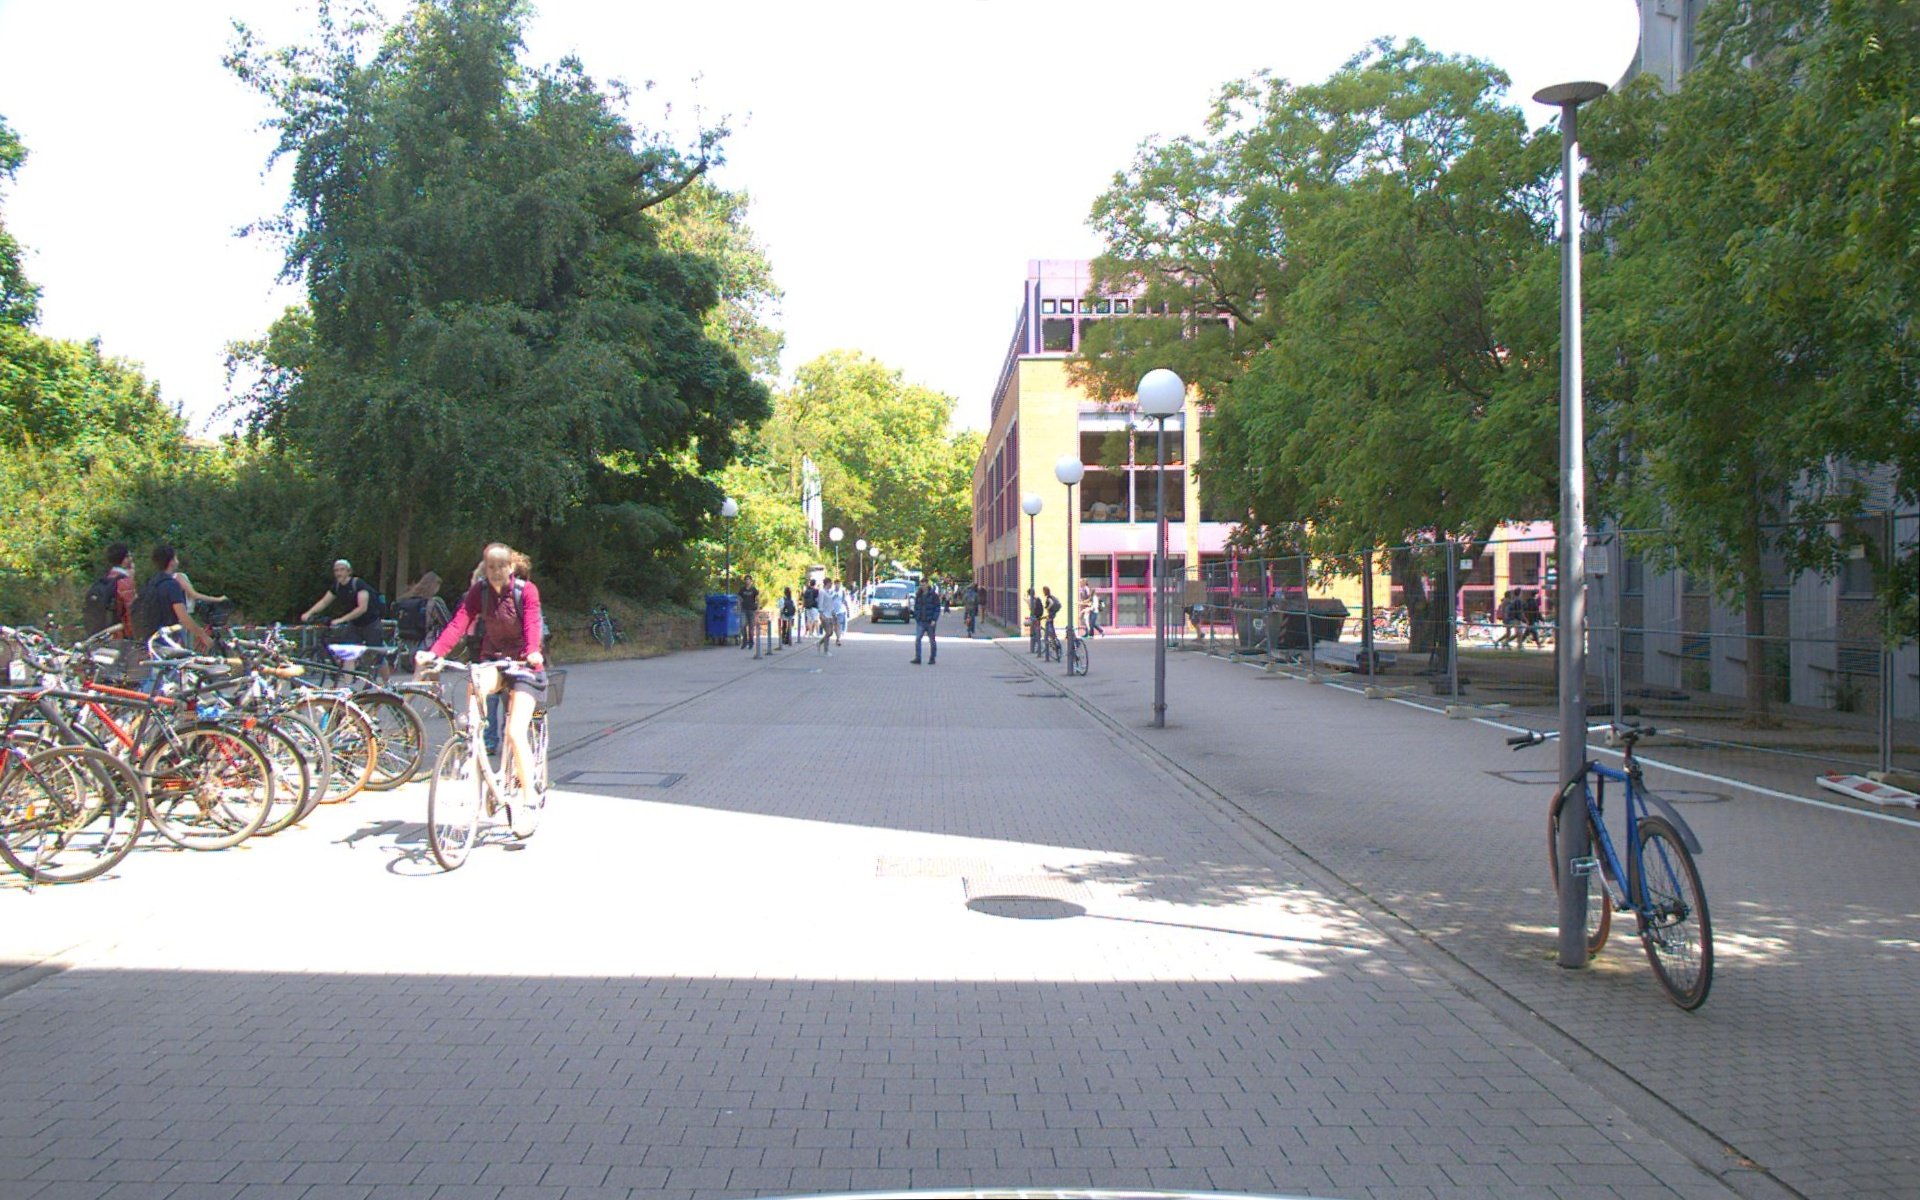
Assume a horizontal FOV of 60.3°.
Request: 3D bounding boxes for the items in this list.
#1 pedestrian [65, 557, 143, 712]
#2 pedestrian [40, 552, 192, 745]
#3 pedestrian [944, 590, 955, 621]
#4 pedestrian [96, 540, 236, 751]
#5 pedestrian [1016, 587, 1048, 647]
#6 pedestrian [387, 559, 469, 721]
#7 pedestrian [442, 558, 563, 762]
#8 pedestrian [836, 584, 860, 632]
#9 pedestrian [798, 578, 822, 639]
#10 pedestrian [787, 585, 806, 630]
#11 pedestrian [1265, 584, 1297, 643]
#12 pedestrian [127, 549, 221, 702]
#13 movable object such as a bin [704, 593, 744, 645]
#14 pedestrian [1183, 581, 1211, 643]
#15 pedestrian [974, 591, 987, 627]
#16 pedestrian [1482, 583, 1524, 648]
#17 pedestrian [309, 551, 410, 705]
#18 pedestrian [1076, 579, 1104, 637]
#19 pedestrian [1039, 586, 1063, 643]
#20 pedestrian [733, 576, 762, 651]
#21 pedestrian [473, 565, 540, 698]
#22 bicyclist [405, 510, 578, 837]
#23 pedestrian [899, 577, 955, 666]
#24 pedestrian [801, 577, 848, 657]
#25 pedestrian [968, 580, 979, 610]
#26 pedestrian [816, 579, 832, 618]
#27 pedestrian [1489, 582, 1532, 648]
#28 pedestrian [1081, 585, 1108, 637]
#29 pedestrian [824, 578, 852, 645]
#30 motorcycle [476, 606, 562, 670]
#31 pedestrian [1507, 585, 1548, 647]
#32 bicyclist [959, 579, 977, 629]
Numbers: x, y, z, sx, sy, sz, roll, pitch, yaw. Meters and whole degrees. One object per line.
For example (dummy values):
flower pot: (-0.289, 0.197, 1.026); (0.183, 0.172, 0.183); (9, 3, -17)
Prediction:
pedestrian: (-9.931, 0.378, 19.186); (0.679, 1.754, 0.721); (-1, 1, -38)
pedestrian: (-7.963, 0.427, 15.625); (0.703, 1.754, 1.062); (0, 1, 31)
pedestrian: (-0.596, 0.321, 92.497); (0.574, 1.702, 0.817); (-1, -1, 0)
pedestrian: (-7.289, 0.392, 15.198); (0.672, 1.867, 0.938); (0, 1, 33)
pedestrian: (2.052, 0.492, 47.029); (0.834, 1.680, 0.588); (1, -1, 6)
pedestrian: (-5.913, 0.440, 18.407); (0.670, 1.754, 0.731); (1, 0, -3)
pedestrian: (-4.000, 0.501, 14.427); (0.761, 1.709, 0.896); (1, 0, -34)
pedestrian: (-3.735, 0.286, 55.262); (0.725, 1.569, 0.888); (2, -2, -3)
pedestrian: (-4.690, 0.267, 51.819); (0.668, 1.876, 0.783); (1, -1, -1)
pedestrian: (-6.082, 0.295, 61.607); (0.669, 1.649, 0.977); (1, -1, -6)
pedestrian: (9.588, 0.414, 49.438); (0.882, 1.759, 0.685); (-1, -2, 9)
pedestrian: (-9.246, 0.282, 19.451); (0.925, 1.754, 0.670); (-1, 1, -31)
movable object such as a bin: (-6.456, 0.520, 45.236); (0.694, 1.359, 1.240); (3, 0, 9)
pedestrian: (7.049, 0.366, 49.185); (0.750, 1.826, 0.588); (-1, -1, 6)
pedestrian: (0.980, 0.438, 79.312); (0.574, 1.702, 0.699); (-1, -1, 0)
pedestrian: (14.906, 0.441, 45.397); (0.884, 1.759, 0.684); (0, -2, -6)
pedestrian: (-7.505, 0.339, 20.702); (0.601, 1.867, 1.048); (0, 0, 30)
pedestrian: (4.231, 0.253, 53.720); (0.809, 1.876, 0.684); (1, -1, -4)
pedestrian: (2.772, 0.442, 50.426); (0.682, 1.702, 0.588); (-1, -1, 6)
pedestrian: (-5.504, 0.352, 42.849); (0.669, 1.905, 1.119); (1, -1, -6)
pedestrian: (-6.119, 0.416, 22.356); (0.670, 1.754, 0.903); (1, 0, -3)
bicyclist: (-2.627, 0.399, 9.360); (0.756, 1.746, 0.910); (-1, -1, -4)
pedestrian: (-0.716, 0.464, 36.279); (0.867, 1.890, 1.032); (1, 0, 21)
pedestrian: (-3.250, 0.406, 39.628); (0.773, 1.877, 1.109); (1, 0, -25)
pedestrian: (0.747, -0.268, 93.492); (0.574, 1.702, 0.817); (-1, -1, 0)
pedestrian: (-6.648, -0.052, 80.907); (0.668, 1.876, 0.783); (1, -1, -1)
pedestrian: (14.818, 0.406, 44.552); (0.884, 1.759, 0.684); (0, -2, -6)
pedestrian: (4.313, 0.352, 53.020); (0.765, 1.649, 0.684); (1, -1, -4)
pedestrian: (-3.533, 0.343, 47.837); (0.710, 1.914, 1.080); (1, -1, -8)
motorcycle: (-8.040, 0.668, 30.116); (1.990, 1.065, 0.471); (2, 1, 42)
pedestrian: (16.178, 0.462, 47.192); (0.884, 1.759, 0.684); (0, -2, -6)
bicyclist: (0.280, 0.126, 57.981); (0.575, 1.746, 0.665); (0, 0, -5)
